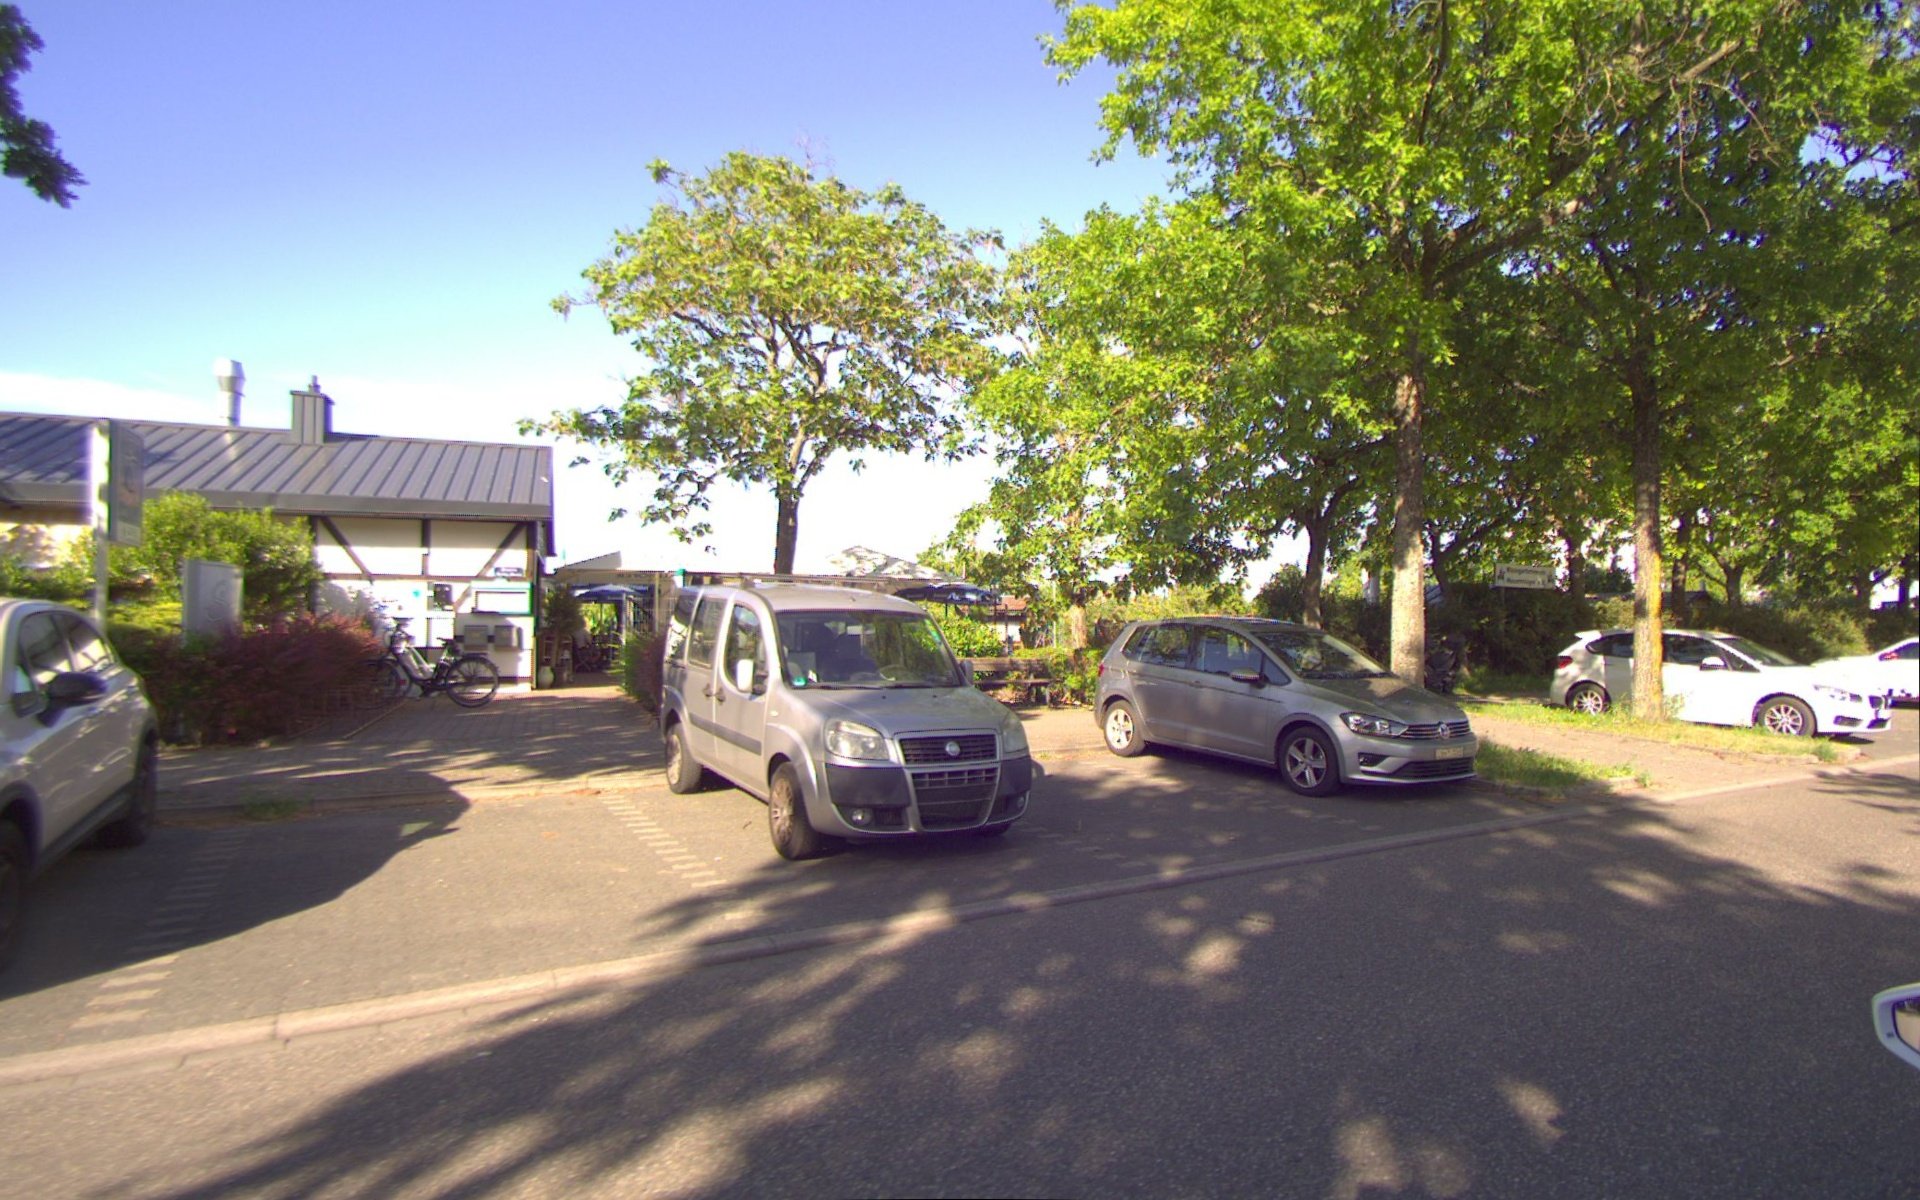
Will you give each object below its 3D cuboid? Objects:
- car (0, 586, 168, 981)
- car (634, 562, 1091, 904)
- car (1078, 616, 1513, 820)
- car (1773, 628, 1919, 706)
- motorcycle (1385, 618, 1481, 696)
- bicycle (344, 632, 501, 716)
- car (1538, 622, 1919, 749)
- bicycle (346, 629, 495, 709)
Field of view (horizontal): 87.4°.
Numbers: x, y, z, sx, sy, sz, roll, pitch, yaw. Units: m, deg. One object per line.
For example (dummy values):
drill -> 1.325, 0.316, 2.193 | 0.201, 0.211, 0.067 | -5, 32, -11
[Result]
car -> -5.395, 0.751, 4.799 | 1.853, 1.664, 4.045 | 1, 0, -29
car -> -1.063, 0.745, 7.937 | 1.976, 1.908, 4.205 | 1, 0, -31
car -> 3.200, 1.005, 10.435 | 1.843, 1.577, 4.117 | 1, 0, -29
car -> 20.366, 1.422, 21.355 | 2.065, 1.531, 4.388 | 1, 0, -32
motorcycle -> 9.506, 1.125, 20.177 | 1.968, 1.452, 0.733 | 1, 2, -32
bicycle -> -7.451, 0.994, 13.974 | 1.863, 1.102, 0.635 | 1, -2, -35
car -> 11.856, 1.197, 15.778 | 2.063, 1.577, 4.392 | 1, 0, -29
bicycle -> -7.884, 0.985, 14.722 | 1.863, 1.102, 0.635 | 1, -2, -35
